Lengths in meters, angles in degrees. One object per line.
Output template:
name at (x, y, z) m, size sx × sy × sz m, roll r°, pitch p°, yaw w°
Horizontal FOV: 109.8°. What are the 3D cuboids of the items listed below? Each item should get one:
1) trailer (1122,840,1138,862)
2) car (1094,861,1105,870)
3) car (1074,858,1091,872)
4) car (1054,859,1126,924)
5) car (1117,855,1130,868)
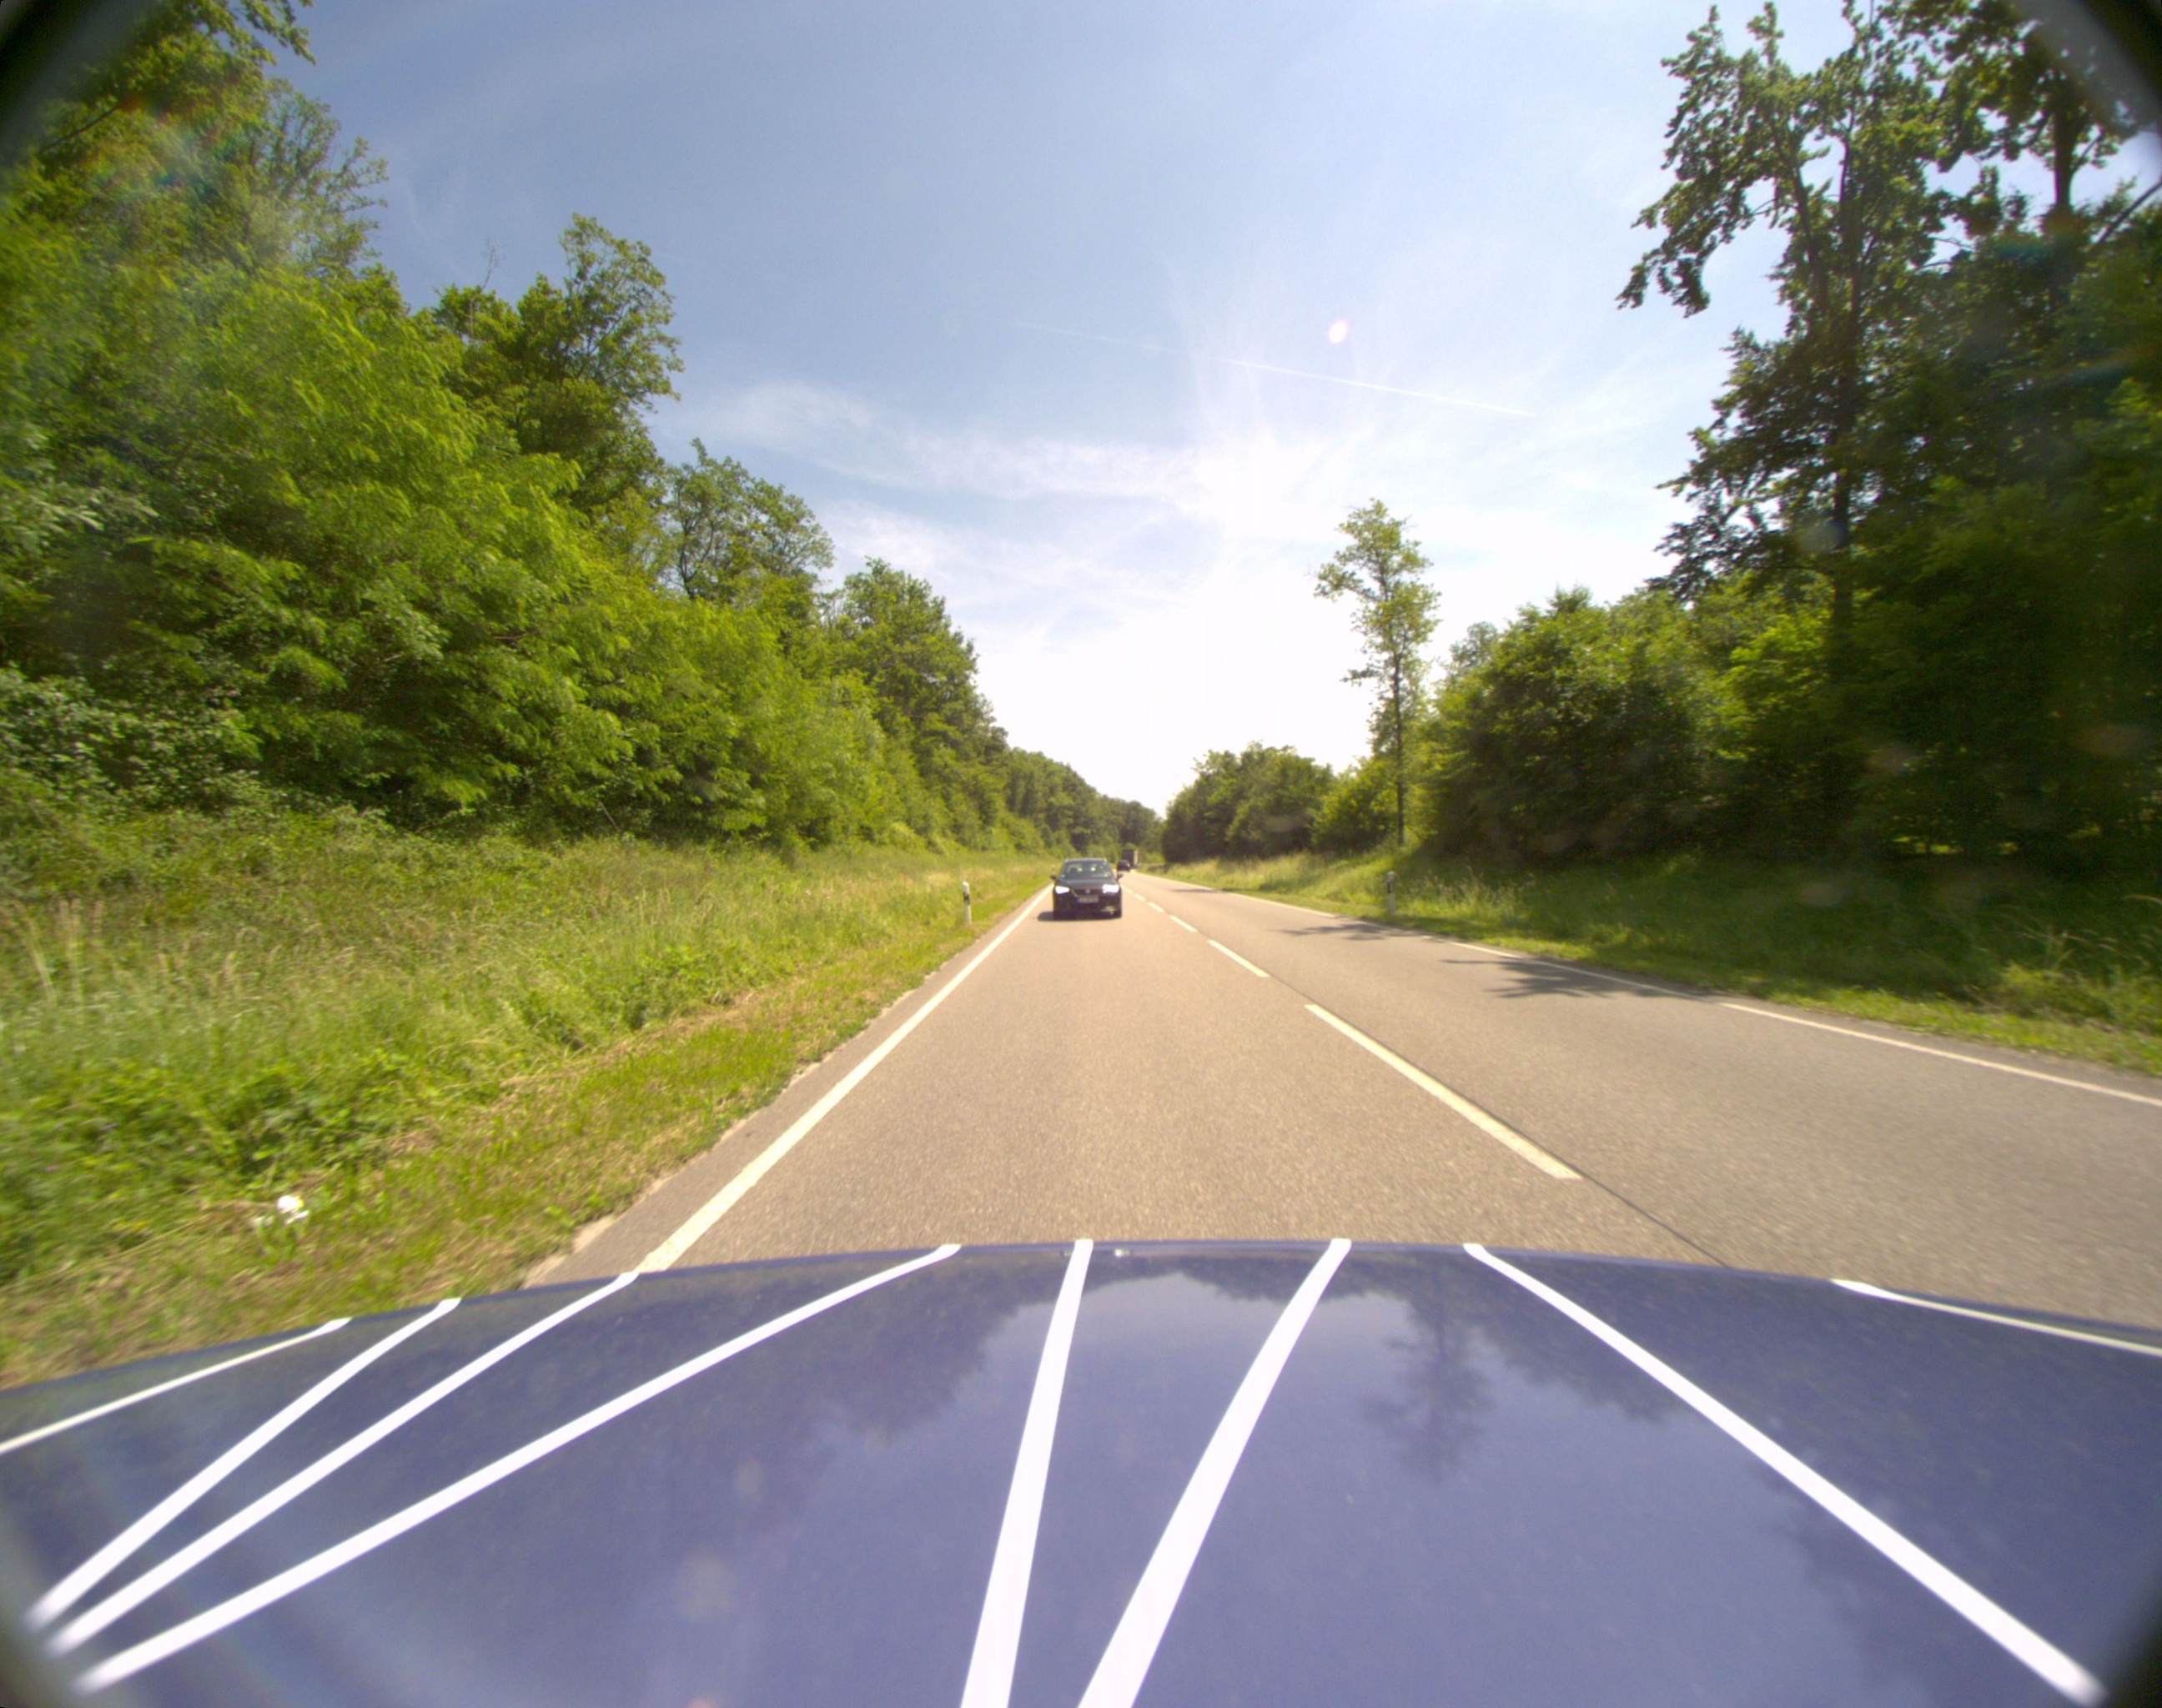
trailer at (10.034, -0.576, 157.553) m, size 2.949 × 4.228 × 13.621 m, roll -1°, pitch 0°, yaw 2°
car at (3.001, 1.832, 124.160) m, size 1.776 × 1.454 × 4.000 m, roll 0°, pitch 0°, yaw 0°
car at (0.221, 1.206, 80.809) m, size 1.776 × 1.454 × 3.949 m, roll 0°, pitch 0°, yaw 1°
car at (0.252, 0.914, 20.579) m, size 1.713 × 1.516 × 4.242 m, roll -1°, pitch 0°, yaw 1°
car at (5.451, 0.939, 96.909) m, size 1.664 × 1.486 × 3.806 m, roll -1°, pitch 0°, yaw 3°
